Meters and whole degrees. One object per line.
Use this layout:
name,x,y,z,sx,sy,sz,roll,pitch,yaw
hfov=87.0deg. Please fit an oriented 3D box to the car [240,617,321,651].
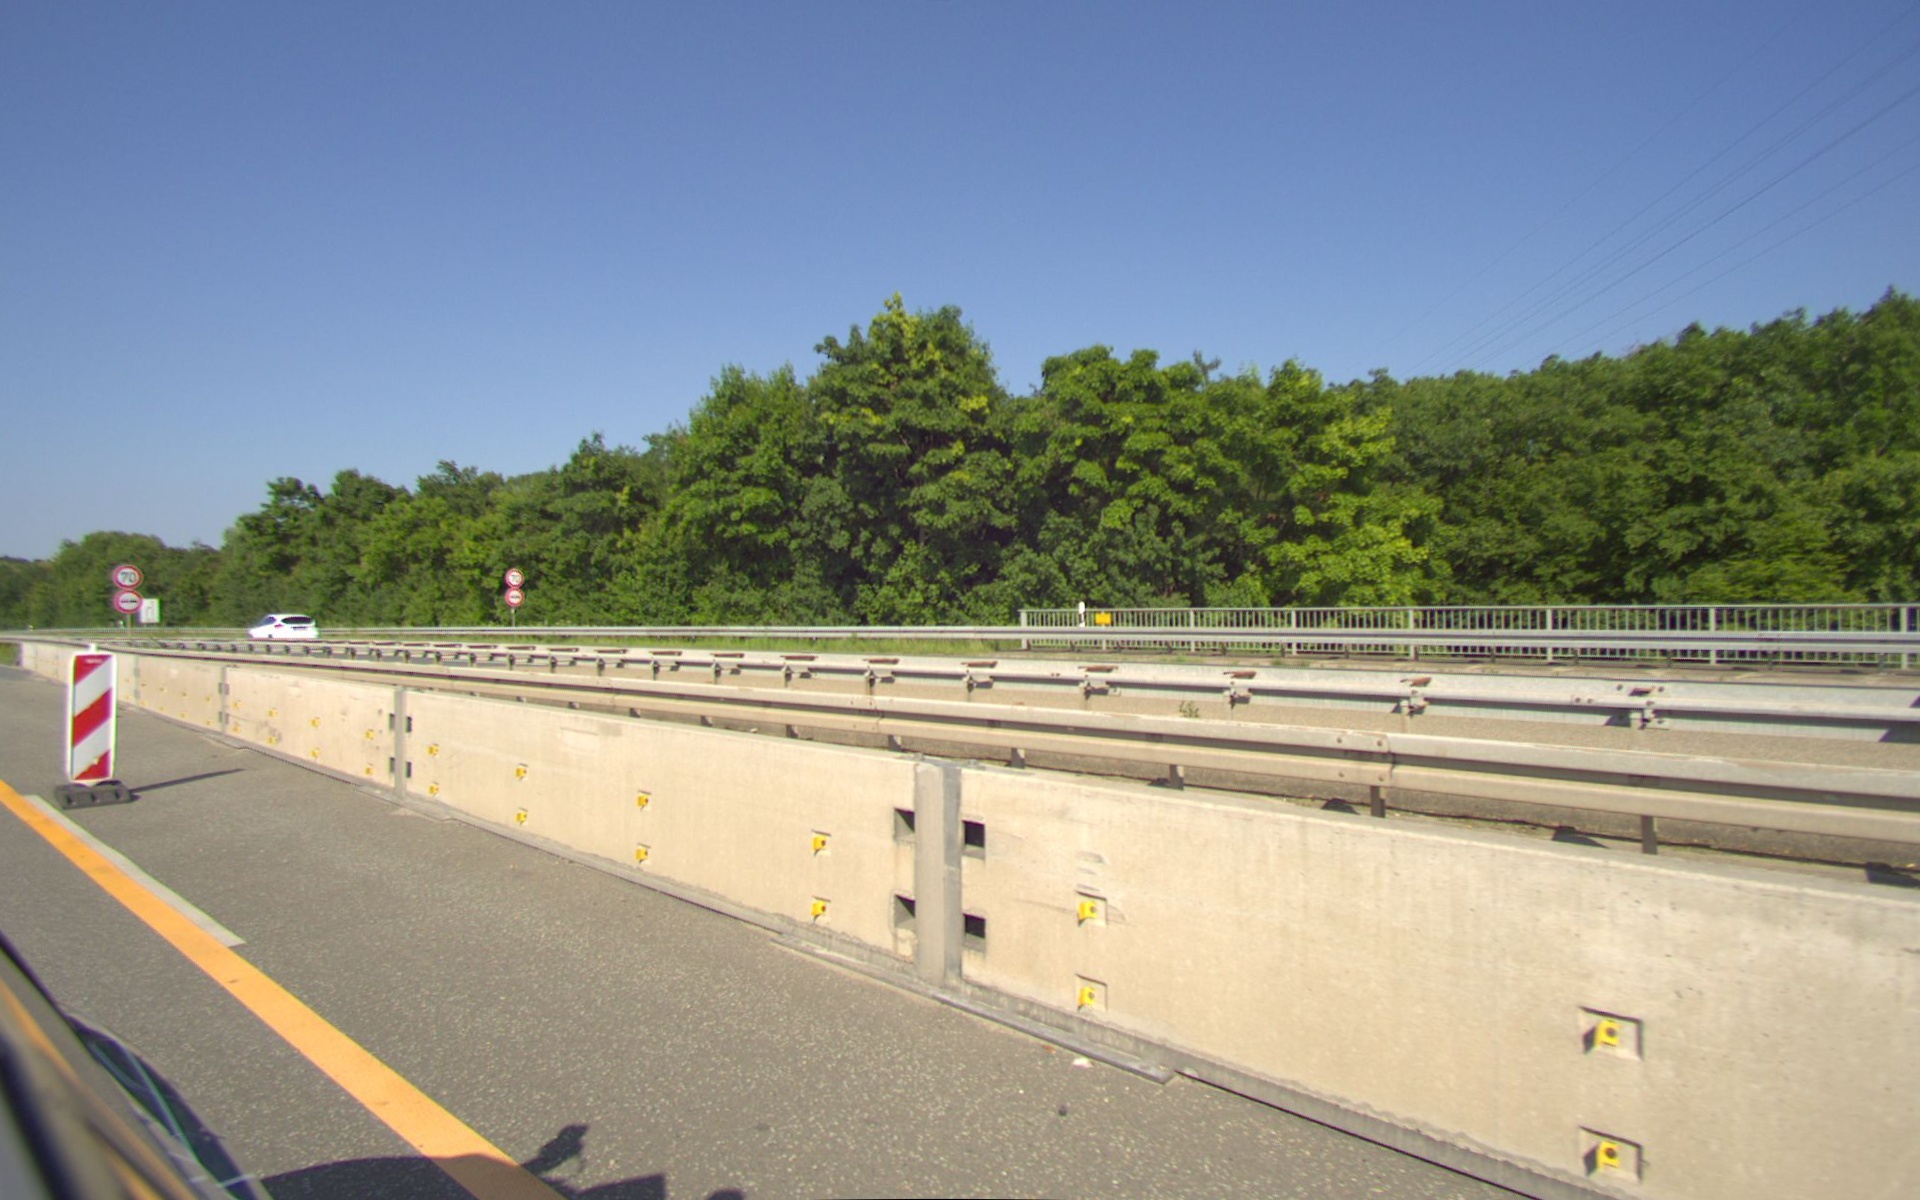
car,-29.075,1.430,43.257,4.549,1.349,1.722,-1,0,41
